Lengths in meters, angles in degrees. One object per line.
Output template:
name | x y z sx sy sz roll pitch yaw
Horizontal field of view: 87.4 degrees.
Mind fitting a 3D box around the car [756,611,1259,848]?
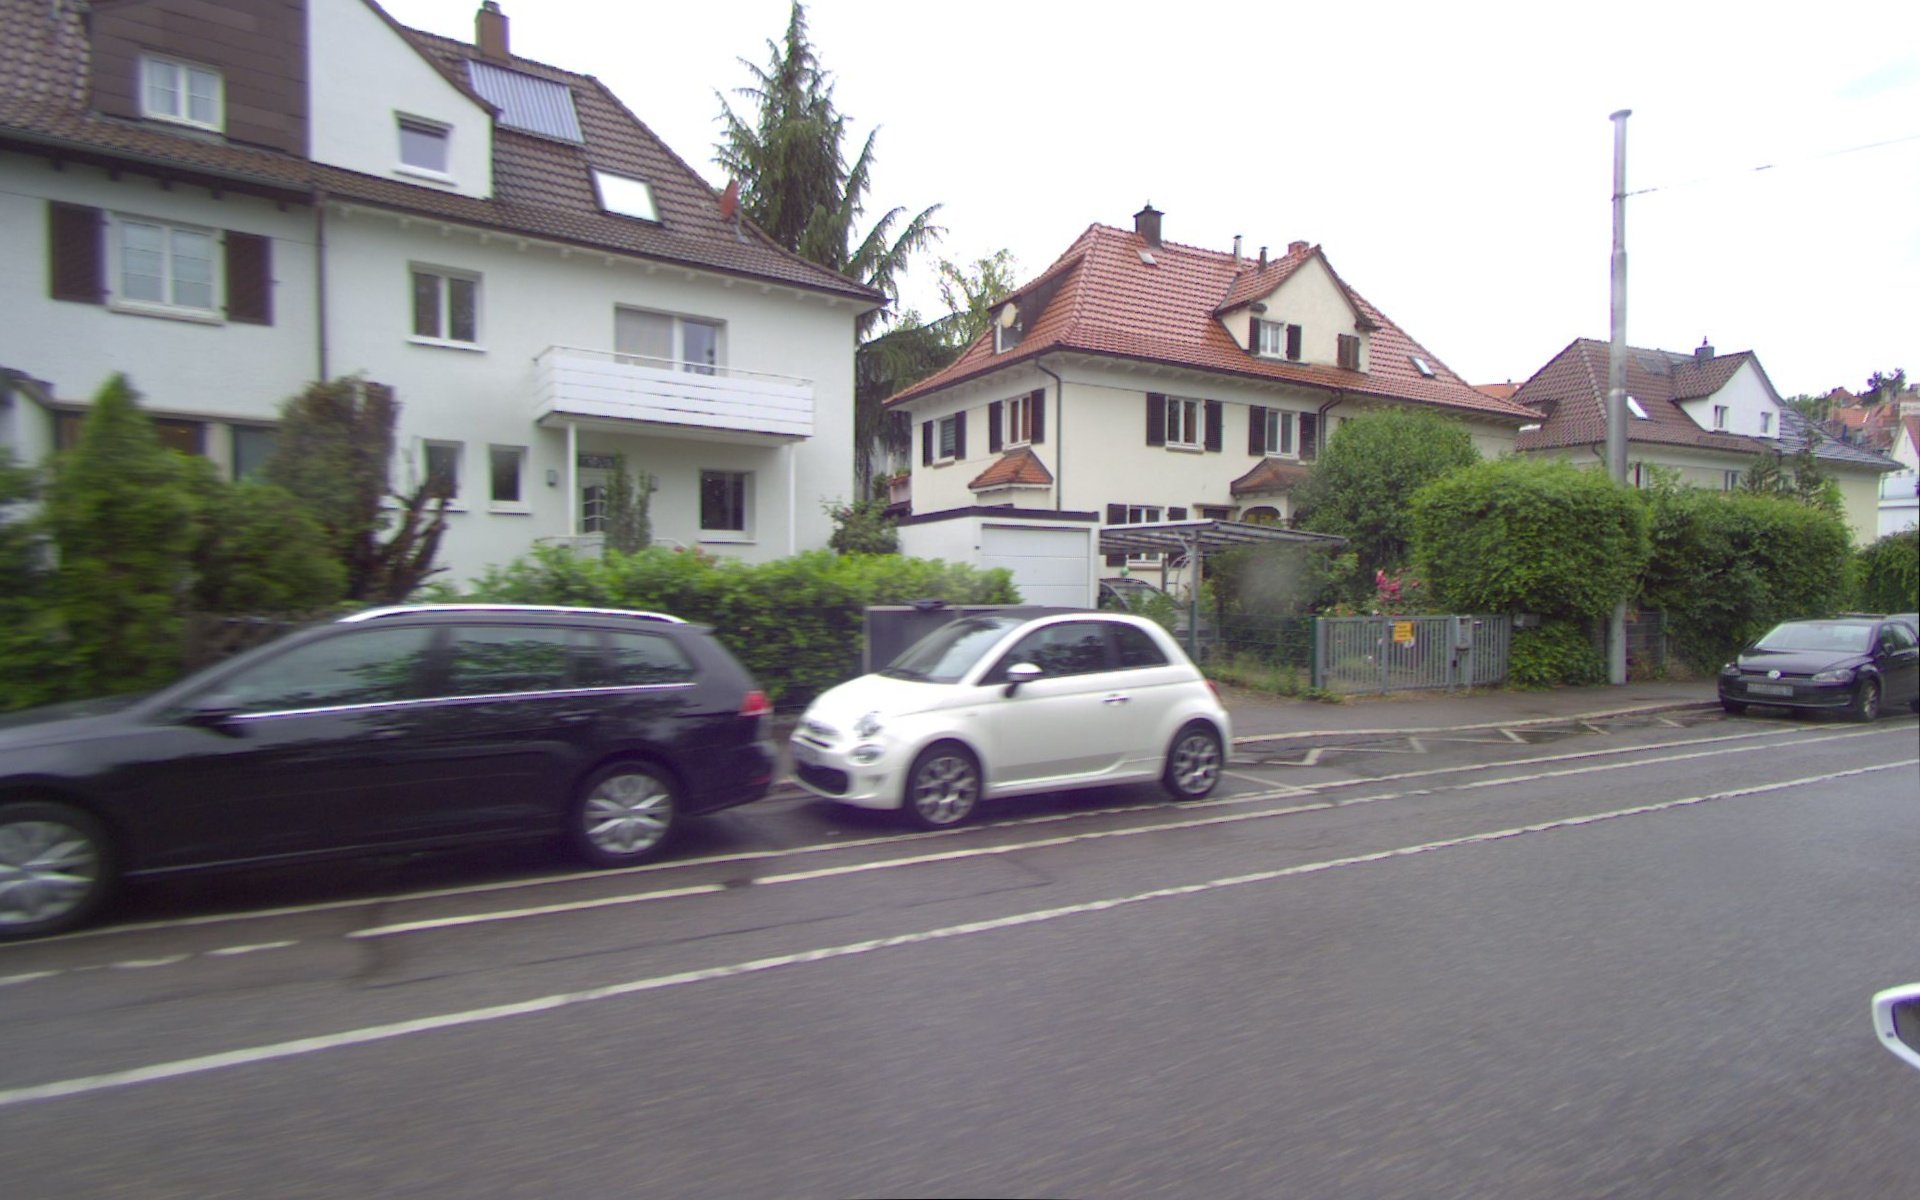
car | 0.418 0.846 7.965 3.665 1.487 1.691 1 -1 -29

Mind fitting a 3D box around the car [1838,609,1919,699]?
car | 16.980 0.899 17.598 2.993 1.473 1.512 0 0 -30

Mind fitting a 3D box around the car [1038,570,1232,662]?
car | 3.428 0.260 20.374 1.642 1.467 3.966 2 4 -30

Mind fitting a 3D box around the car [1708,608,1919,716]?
car | 13.423 0.861 15.490 4.169 1.437 1.678 0 0 -33

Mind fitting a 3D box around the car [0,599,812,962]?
car | -3.212 0.791 5.814 4.373 1.545 1.689 1 -1 -32
